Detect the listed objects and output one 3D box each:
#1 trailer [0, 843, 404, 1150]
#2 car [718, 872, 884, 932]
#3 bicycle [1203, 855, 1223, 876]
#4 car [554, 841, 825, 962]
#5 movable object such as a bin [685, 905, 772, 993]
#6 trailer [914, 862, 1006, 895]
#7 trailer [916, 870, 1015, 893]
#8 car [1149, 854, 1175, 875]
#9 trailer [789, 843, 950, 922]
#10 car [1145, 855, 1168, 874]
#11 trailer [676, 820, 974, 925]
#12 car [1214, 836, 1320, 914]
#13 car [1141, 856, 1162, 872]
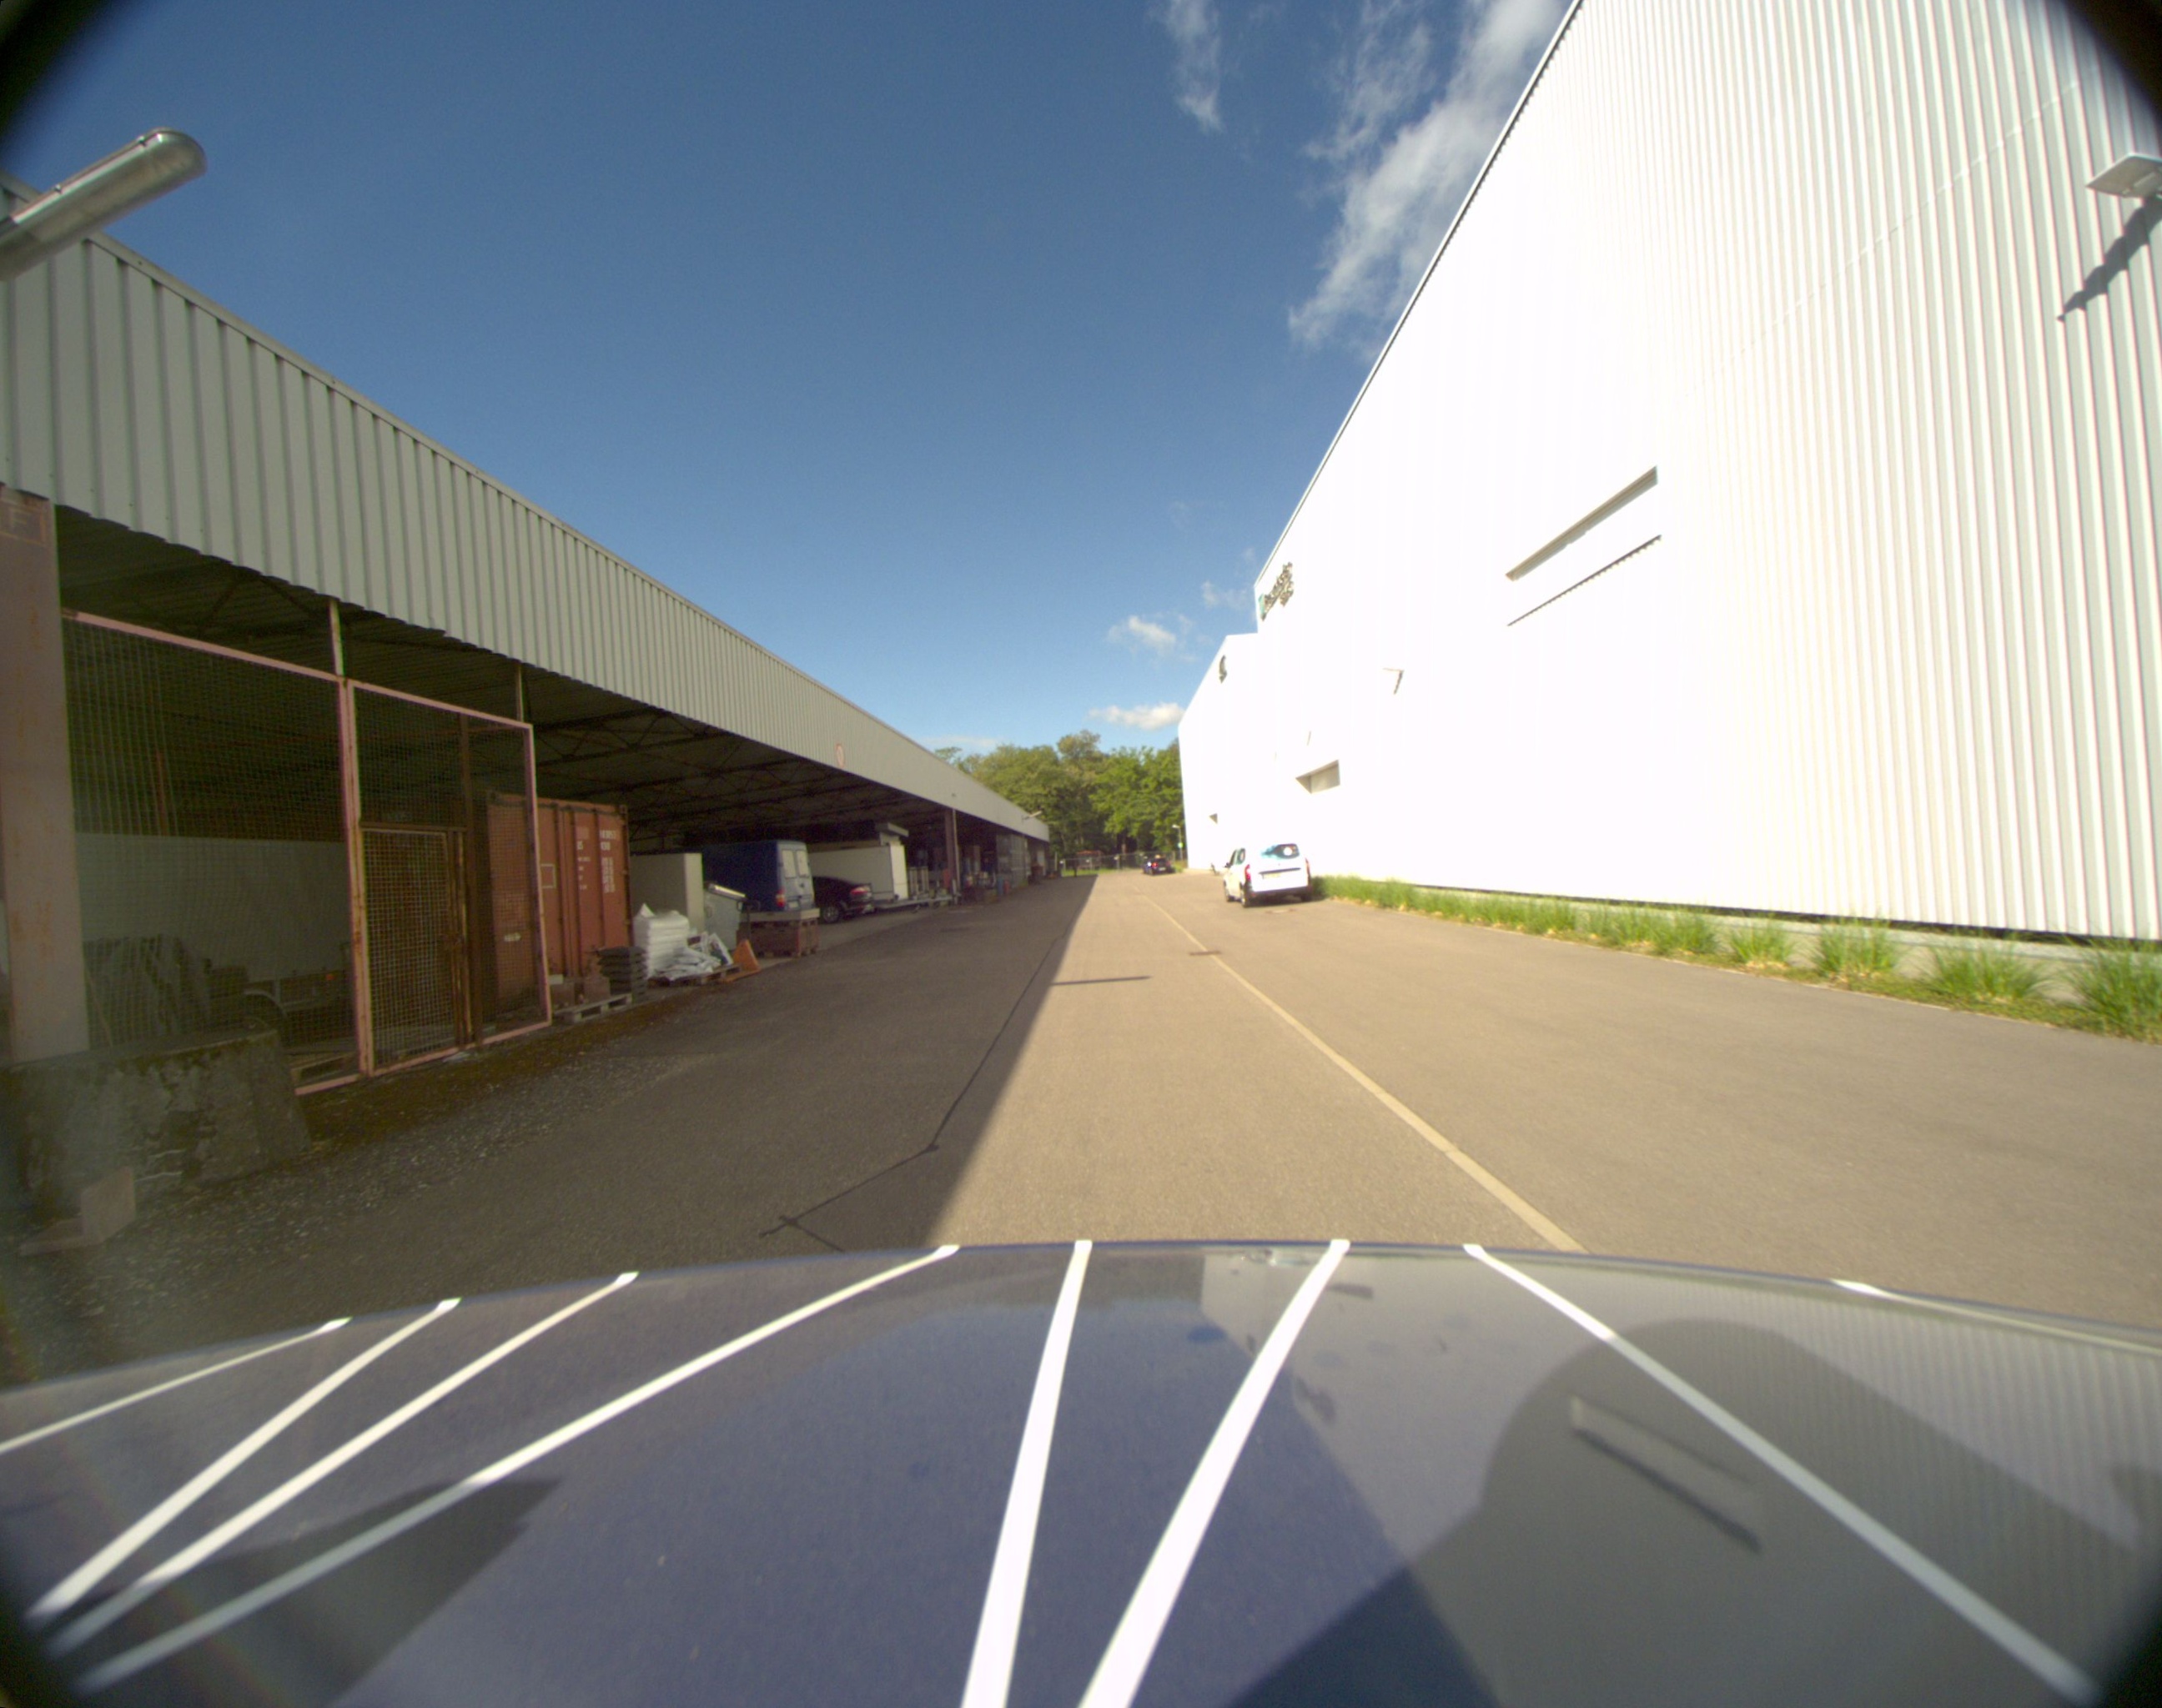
[{"bbox_3d":[-8.160,0.999,5.982,1.860,2.046,4.099,-3,0,0],"label":"trailer"},{"bbox_3d":[-8.502,1.438,23.333,4.340,1.487,1.777,-3,0,-1],"label":"car"},{"bbox_3d":[8.421,0.741,48.485,0.909,1.136,1.901,-7,0,17],"label":"bicycle"},{"bbox_3d":[-8.714,1.020,17.241,4.991,2.312,2.000,-3,0,2],"label":"car"},{"bbox_3d":[-5.279,1.402,11.464,0.583,1.157,1.238,-3,0,6],"label":"movable object such as a bin"},{"bbox_3d":[-6.987,1.393,44.233,4.879,1.619,2.029,-3,0,1],"label":"trailer"},{"bbox_3d":[-7.155,1.691,47.587,5.837,1.113,2.029,-3,-1,1],"label":"trailer"},{"bbox_3d":[6.855,0.848,64.460,1.895,1.513,4.001,-7,0,4],"label":"car"},{"bbox_3d":[-7.161,0.948,25.937,4.822,2.377,1.828,-3,0,6],"label":"trailer"},{"bbox_3d":[6.885,0.905,69.713,1.789,1.513,4.001,-7,0,4],"label":"car"},{"bbox_3d":[-9.362,0.677,28.542,10.061,3.197,2.854,-3,0,2],"label":"trailer"},{"bbox_3d":[5.194,0.546,21.815,1.895,1.835,4.359,-6,0,1],"label":"car"},{"bbox_3d":[6.949,0.980,75.216,1.789,1.431,4.001,-3,0,4],"label":"car"}]
